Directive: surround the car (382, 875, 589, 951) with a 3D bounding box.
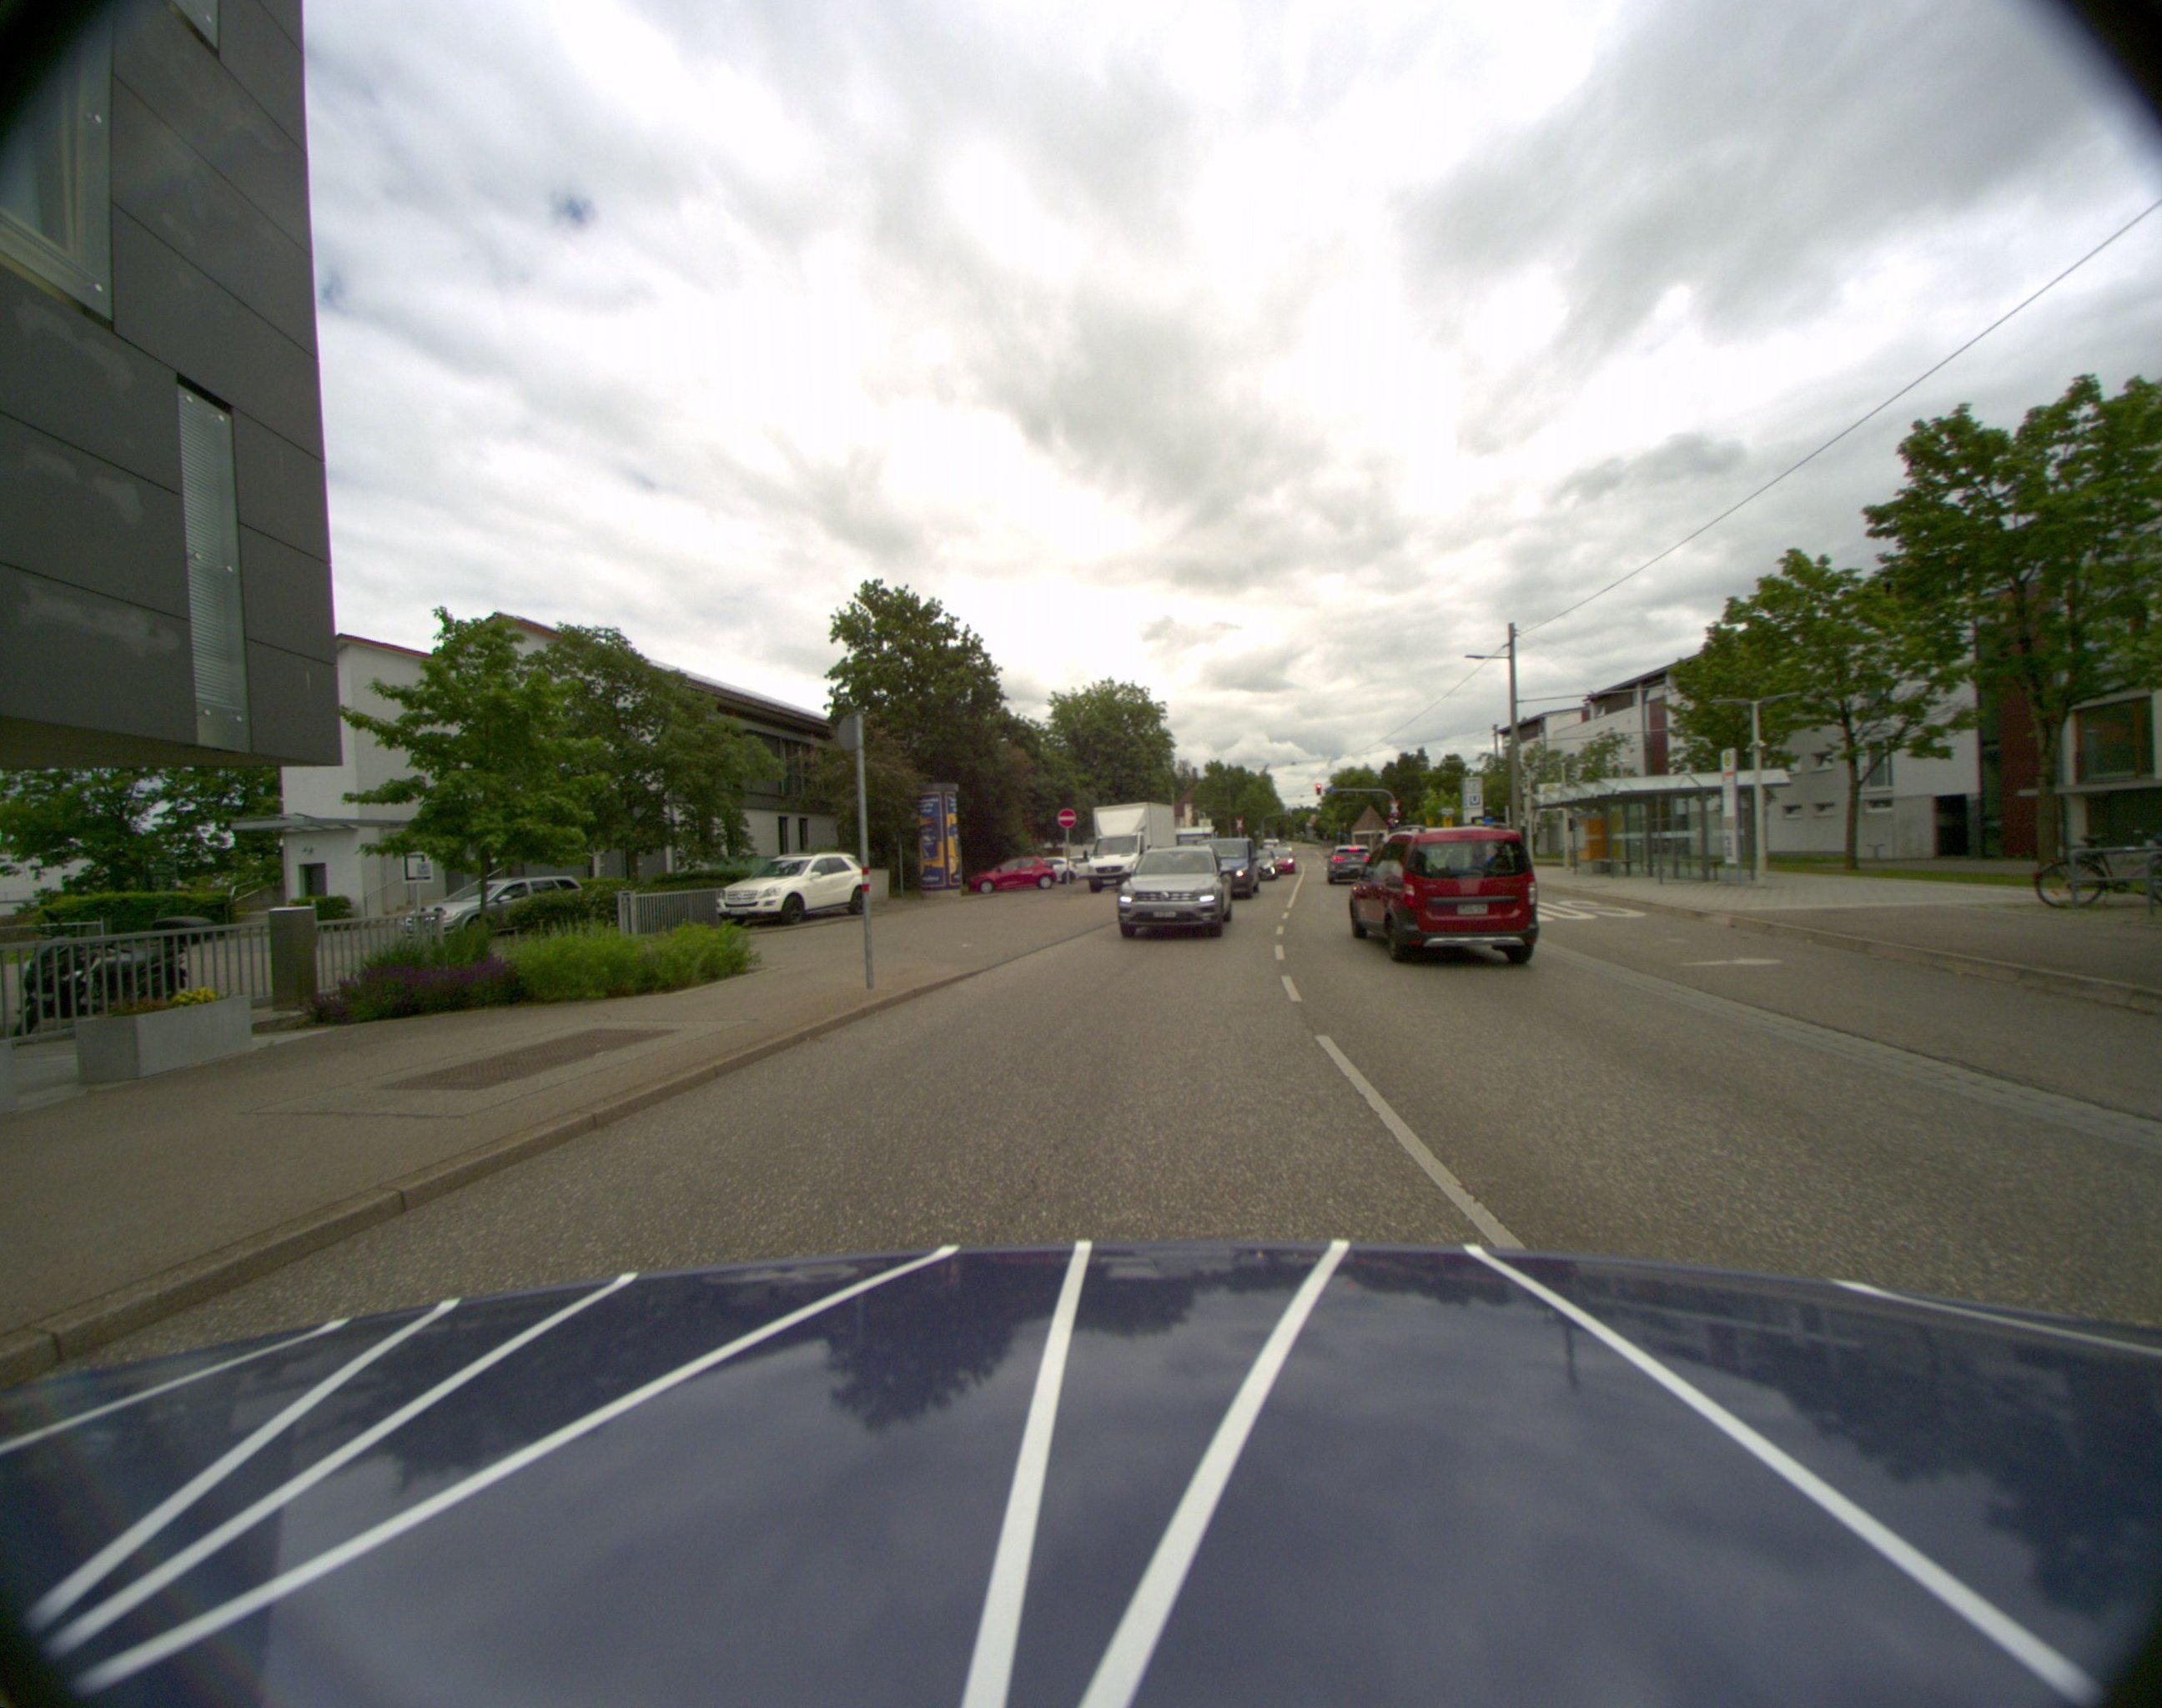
[{"bbox_3d":[-15.474,1.464,20.093,1.618,1.475,4.219,-2,2,10],"label":"car"}]

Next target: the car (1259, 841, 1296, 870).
[{"bbox_3d":[11.130,0.039,43.163,1.848,1.526,4.003,-2,1,13],"label":"car"}]

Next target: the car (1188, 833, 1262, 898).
[{"bbox_3d":[4.701,0.310,24.321,1.847,1.850,4.004,-2,1,17],"label":"car"}]

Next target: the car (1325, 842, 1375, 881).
[{"bbox_3d":[10.833,0.258,30.641,1.770,1.470,4.005,0,1,19],"label":"car"}]

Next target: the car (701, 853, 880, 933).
[{"bbox_3d":[-7.454,0.920,20.098,1.854,1.747,4.727,-2,1,16],"label":"car"}]

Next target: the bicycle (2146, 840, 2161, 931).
[{"bbox_3d":[13.198,0.307,8.385,1.750,1.040,0.408,-4,1,18],"label":"bicycle"}]

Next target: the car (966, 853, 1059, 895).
[{"bbox_3d":[-3.076,0.870,33.850,3.897,1.475,1.682,-5,1,-8],"label":"car"}]

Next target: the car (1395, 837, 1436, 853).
[{"bbox_3d":[38.142,-1.041,86.671,3.993,1.696,1.930,-2,1,14],"label":"car"}]

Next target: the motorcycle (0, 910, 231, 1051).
[{"bbox_3d":[-11.905,1.455,9.272,0.669,1.385,2.124,-3,0,-2],"label":"motorcycle"}]

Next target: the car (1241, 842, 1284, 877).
[{"bbox_3d":[8.616,0.223,36.287,1.848,1.526,4.003,-2,1,13],"label":"car"}]

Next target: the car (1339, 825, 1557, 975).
[{"bbox_3d":[5.142,0.527,11.317,1.684,1.798,4.354,-1,1,8],"label":"car"}]

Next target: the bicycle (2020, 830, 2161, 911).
[{"bbox_3d":[14.185,0.225,10.409,1.689,1.019,0.396,-4,1,18],"label":"bicycle"}]

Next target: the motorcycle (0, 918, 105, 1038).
[{"bbox_3d":[-13.617,1.584,9.087,0.669,1.385,2.462,-3,1,-2],"label":"motorcycle"}]

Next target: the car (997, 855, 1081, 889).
[{"bbox_3d":[-2.159,0.885,38.990,4.001,1.402,1.522,-5,1,-15],"label":"car"}]

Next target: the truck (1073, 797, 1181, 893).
[{"bbox_3d":[2.160,-0.426,31.570,2.538,3.407,7.783,-2,1,17],"label":"truck"}]

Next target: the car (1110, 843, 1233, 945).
[{"bbox_3d":[1.930,0.660,14.893,1.809,1.638,4.334,-2,1,14],"label":"car"}]
